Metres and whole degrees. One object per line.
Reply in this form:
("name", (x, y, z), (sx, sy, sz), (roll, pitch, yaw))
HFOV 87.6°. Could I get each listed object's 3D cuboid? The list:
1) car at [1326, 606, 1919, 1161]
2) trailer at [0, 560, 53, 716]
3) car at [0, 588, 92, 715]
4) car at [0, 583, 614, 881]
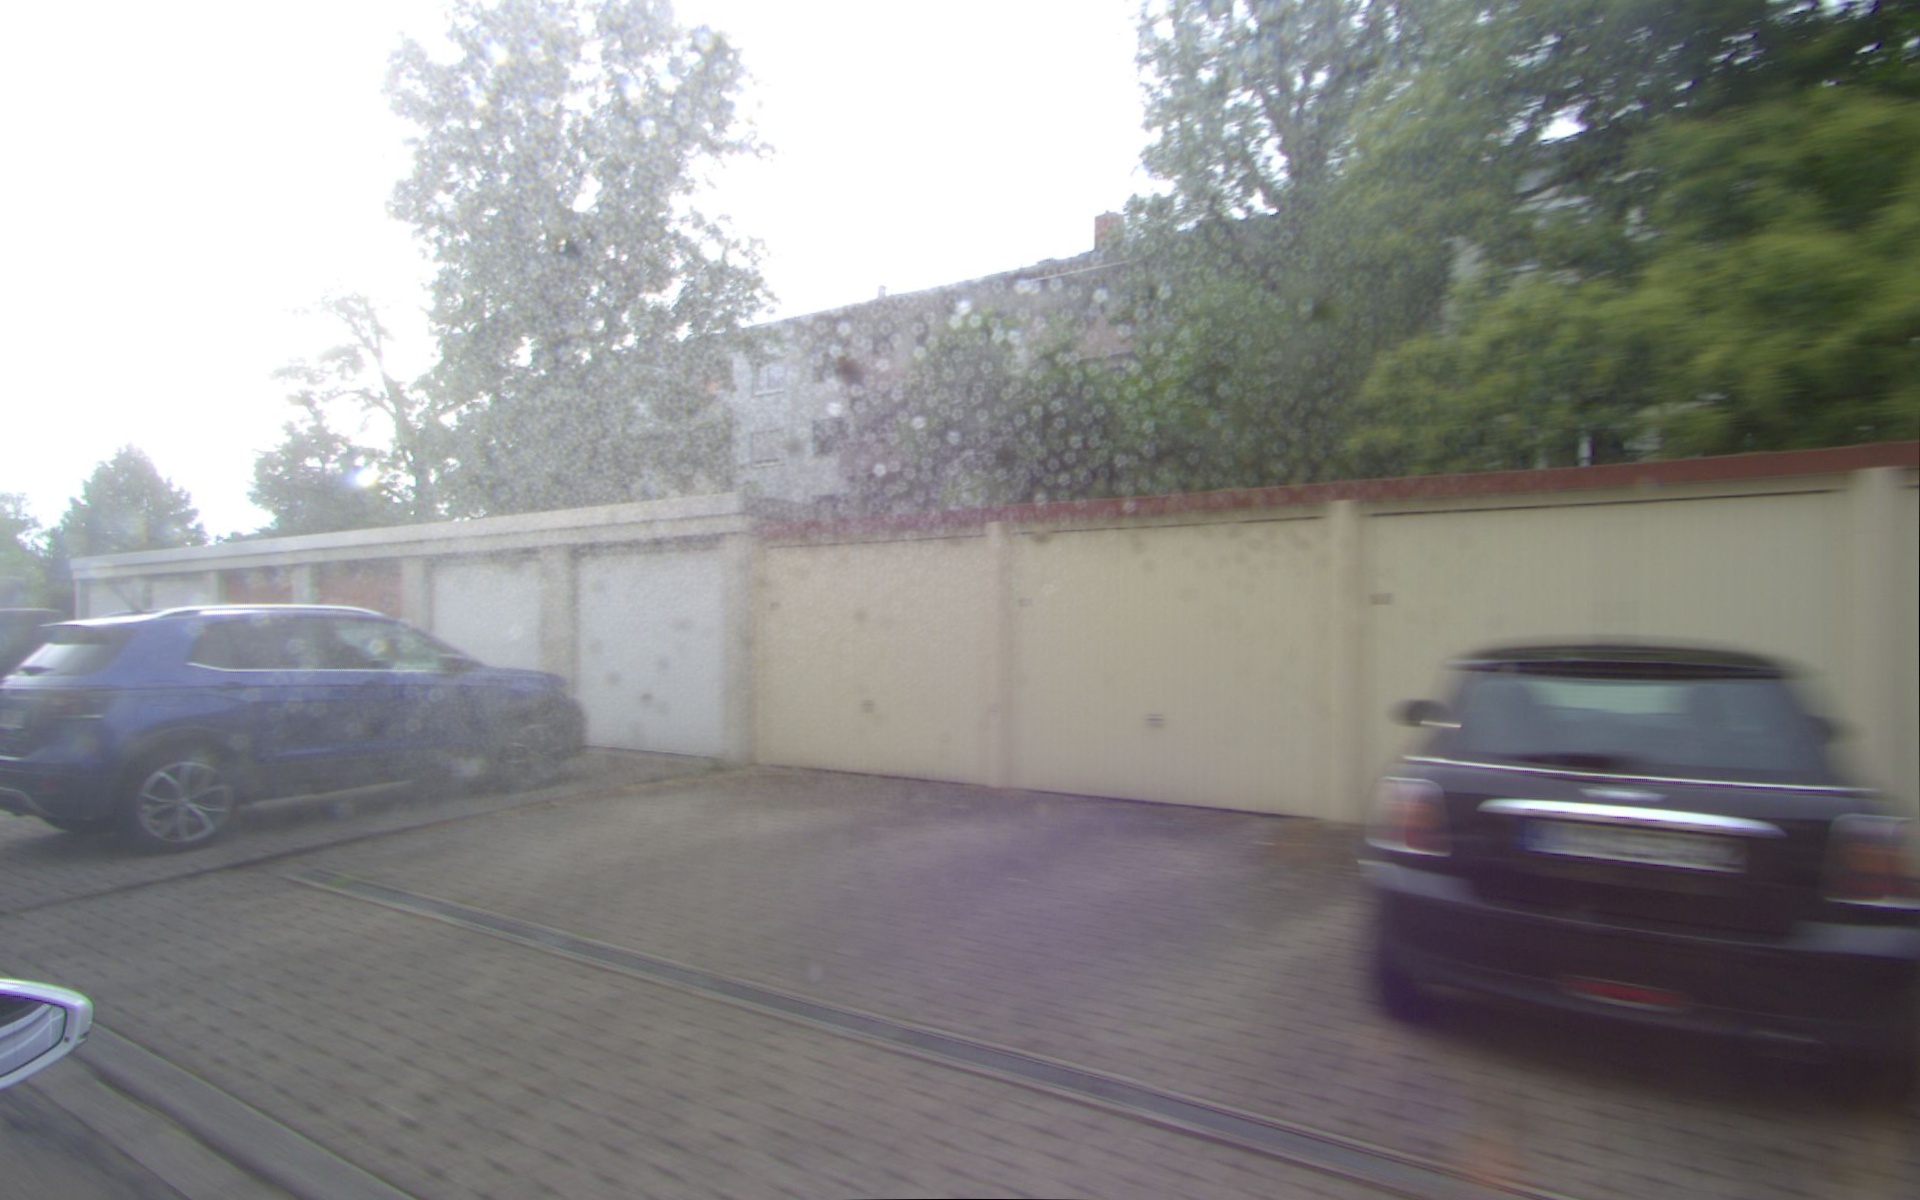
("car", (3.085, 0.780, 4.604), (1.971, 1.465, 3.750), (0, 0, 31))
("trailer", (-17.405, 0.558, 15.504), (1.915, 2.557, 4.603), (0, -2, 32))
("car", (-15.178, 0.752, 13.917), (1.971, 1.826, 4.303), (0, 0, 31))
("car", (-5.046, 0.756, 8.008), (1.971, 1.726, 3.980), (0, 0, 31))
